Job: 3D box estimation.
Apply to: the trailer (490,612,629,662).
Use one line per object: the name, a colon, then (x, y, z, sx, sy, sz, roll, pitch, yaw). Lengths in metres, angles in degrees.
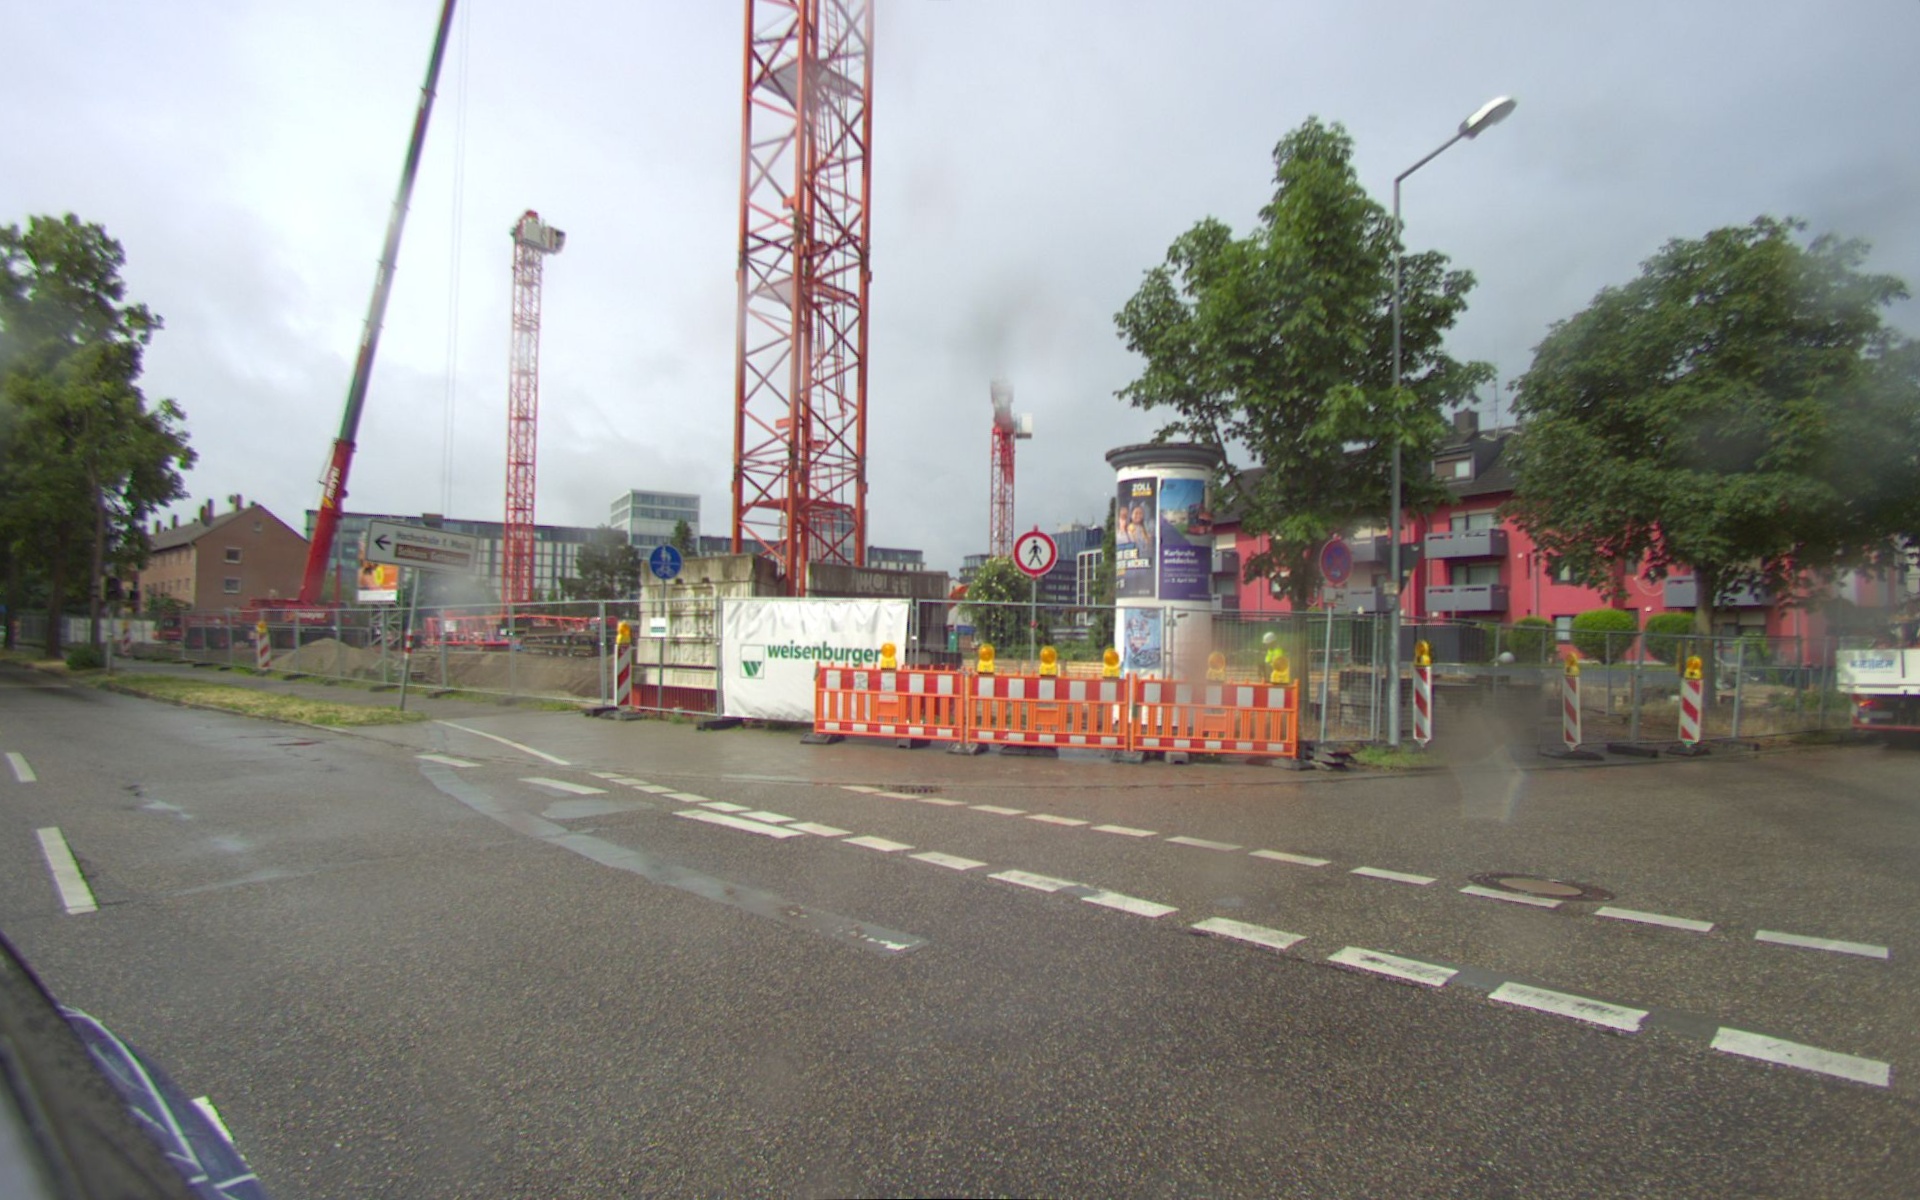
trailer: (-29.205, 2.519, 73.138, 14.300, 3.257, 2.930, 0, 1, 40)

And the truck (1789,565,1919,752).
truck: (20.598, 1.239, 20.137, 9.681, 3.209, 3.801, 3, -4, -35)

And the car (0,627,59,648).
car: (-73.499, 2.927, 79.588, 3.808, 1.564, 1.702, 1, -1, -35)

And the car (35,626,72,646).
car: (-76.152, 3.030, 85.001, 3.996, 1.541, 1.672, 0, -1, 39)

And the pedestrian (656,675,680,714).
pedestrian: (-13.299, 4.285, 46.076, 0.580, 1.698, 0.849, 7, -6, -43)

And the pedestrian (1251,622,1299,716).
pedestrian: (5.584, 1.220, 17.916, 0.610, 1.632, 0.551, 3, -4, -33)

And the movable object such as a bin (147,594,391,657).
movable object such as a bin: (-54.525, 1.950, 80.669, 3.102, 4.593, 15.727, -1, -1, 44)
